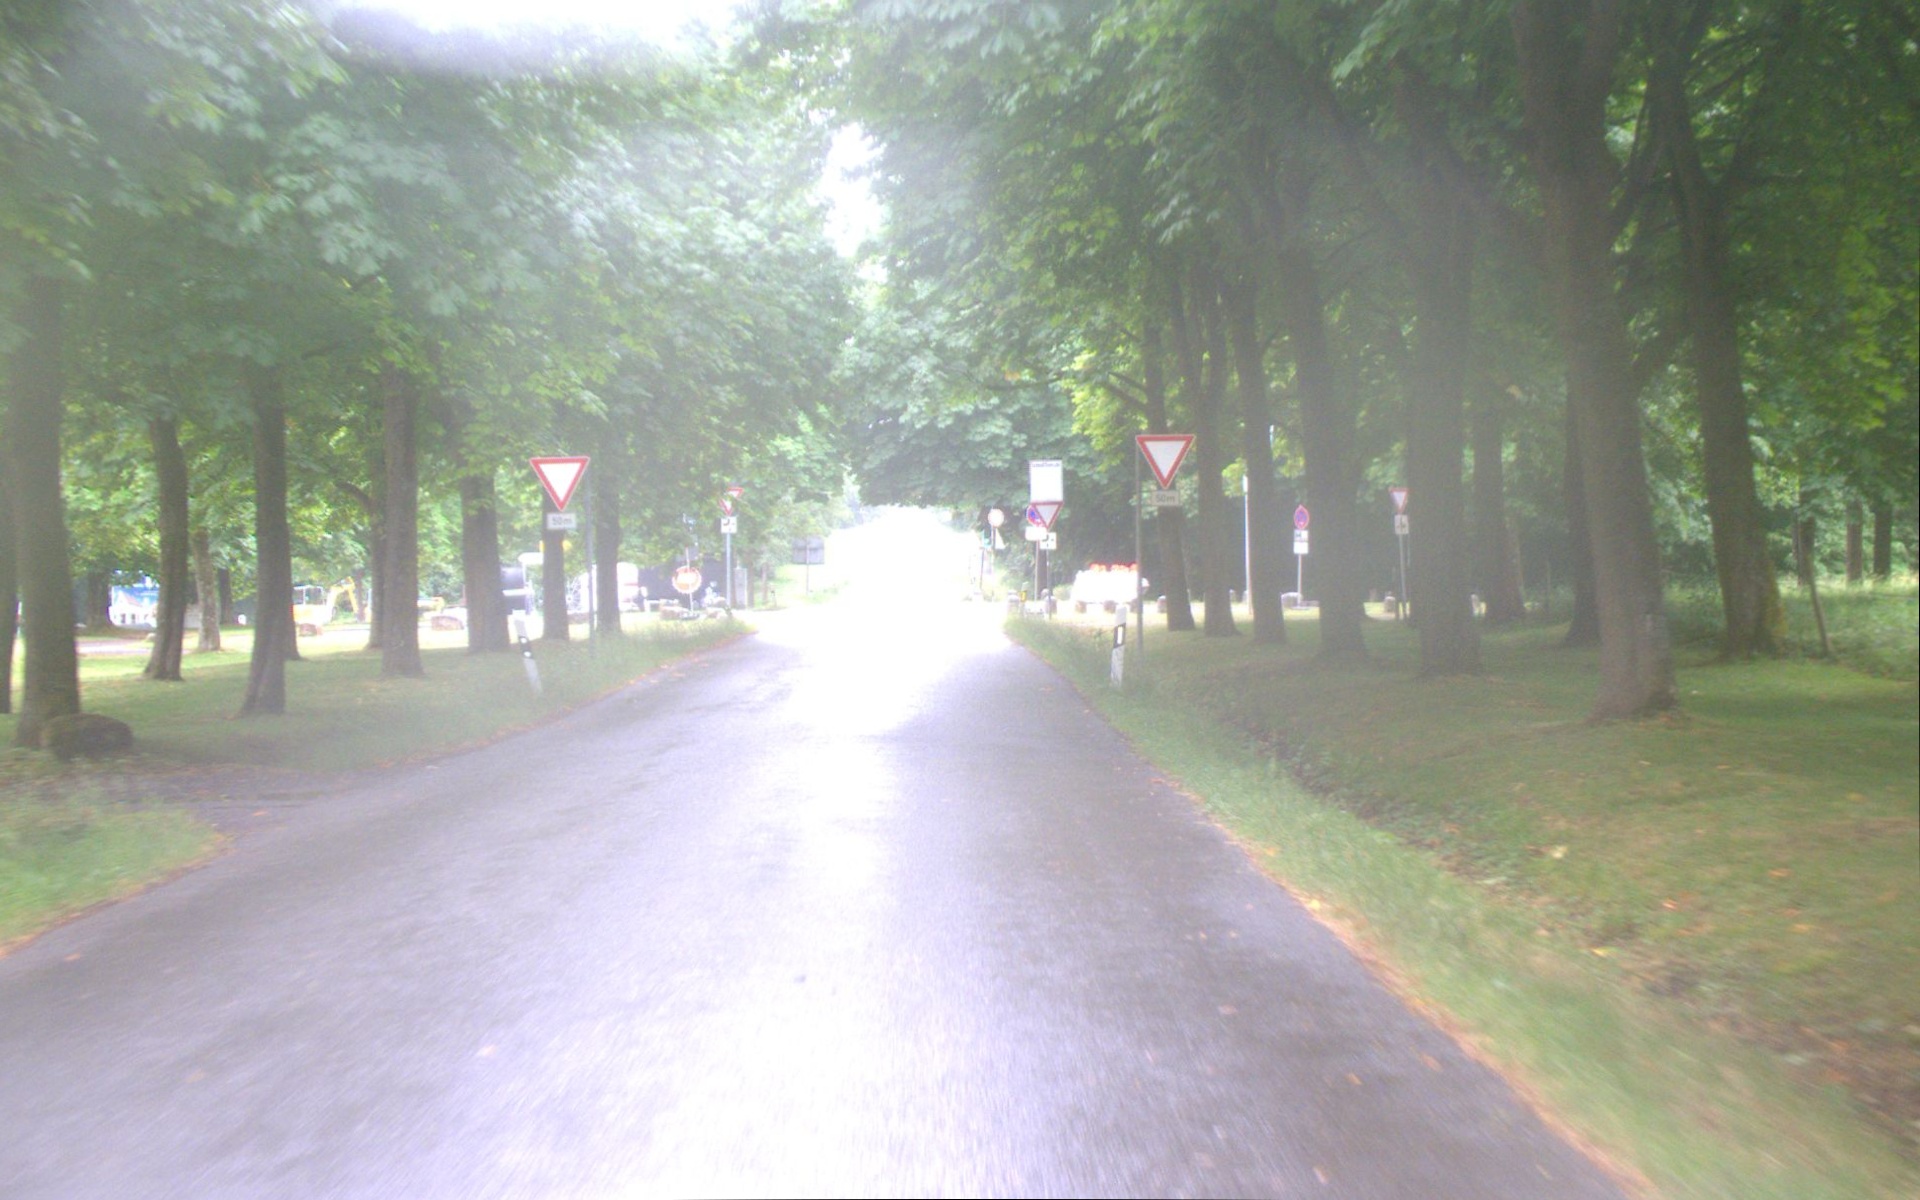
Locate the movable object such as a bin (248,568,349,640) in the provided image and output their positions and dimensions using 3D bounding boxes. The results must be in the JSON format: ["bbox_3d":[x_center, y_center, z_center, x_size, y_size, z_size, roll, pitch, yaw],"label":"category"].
[{"bbox_3d":[-31.843,0.195,165.485,4.653,3.283,3.914,-1,0,-11],"label":"movable object such as a bin"}]

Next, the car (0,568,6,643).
[{"bbox_3d":[-33.614,0.242,111.226,5.978,2.399,2.387,-2,-2,41],"label":"car"}]
